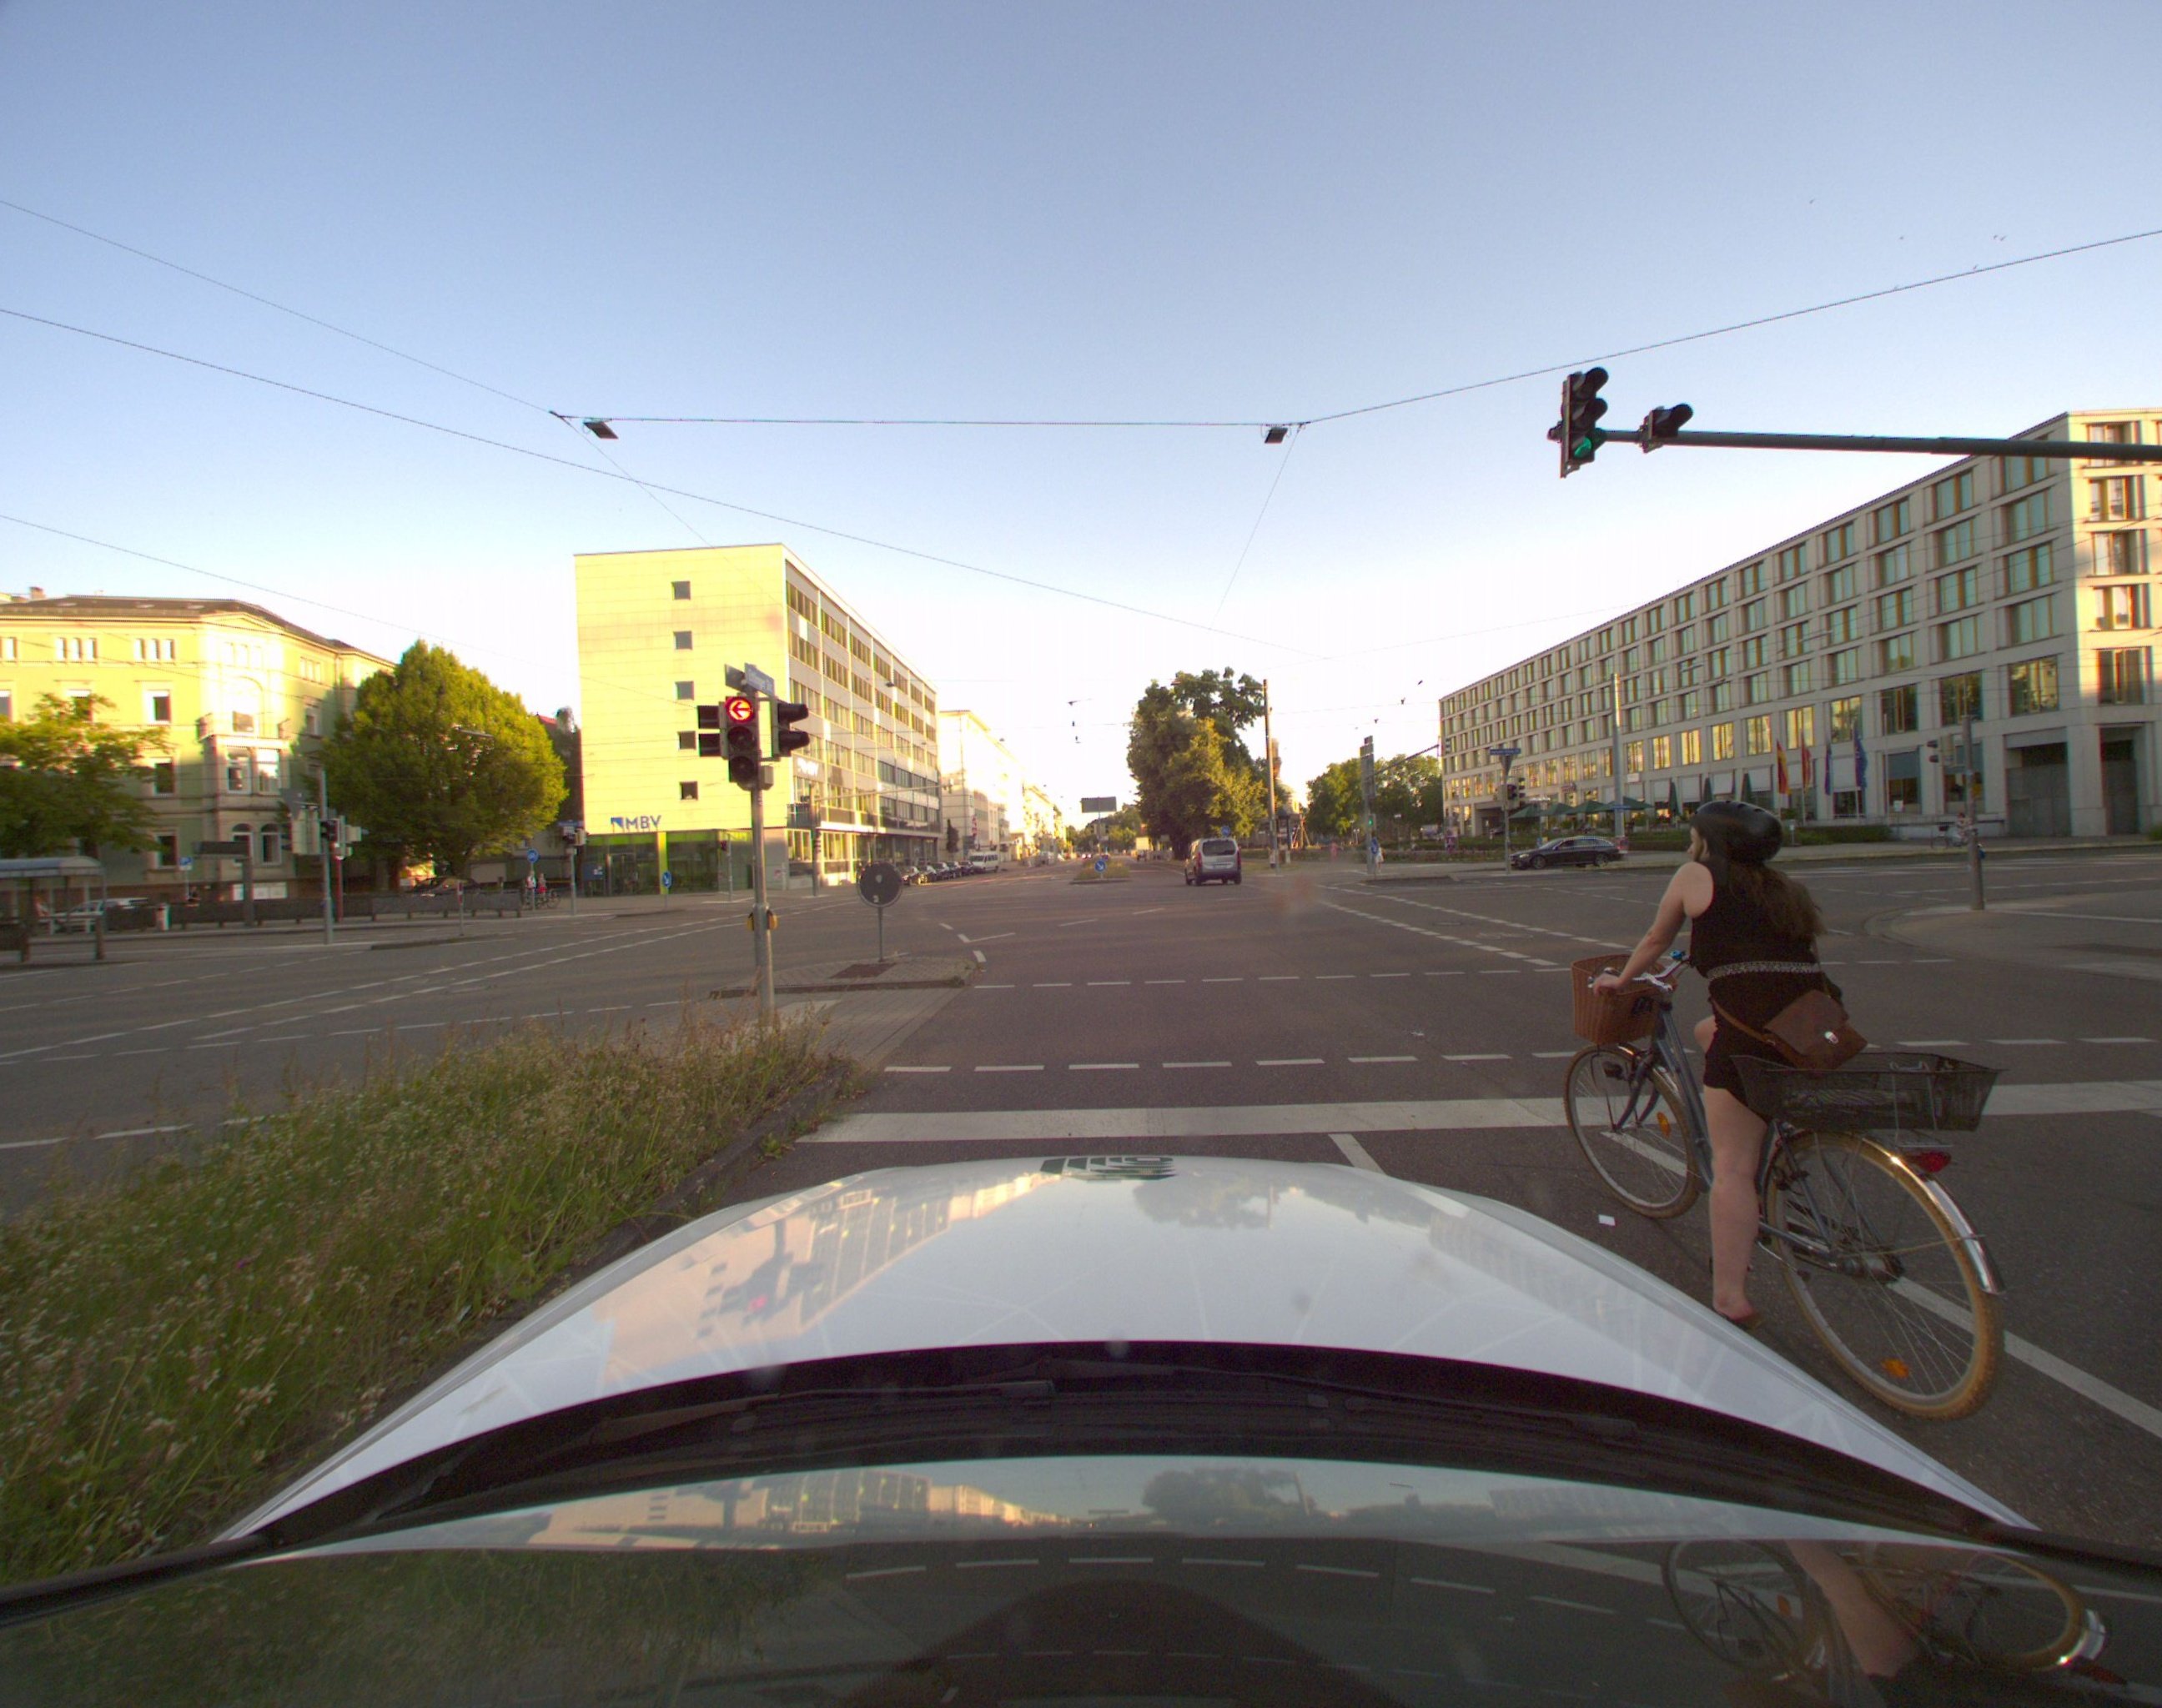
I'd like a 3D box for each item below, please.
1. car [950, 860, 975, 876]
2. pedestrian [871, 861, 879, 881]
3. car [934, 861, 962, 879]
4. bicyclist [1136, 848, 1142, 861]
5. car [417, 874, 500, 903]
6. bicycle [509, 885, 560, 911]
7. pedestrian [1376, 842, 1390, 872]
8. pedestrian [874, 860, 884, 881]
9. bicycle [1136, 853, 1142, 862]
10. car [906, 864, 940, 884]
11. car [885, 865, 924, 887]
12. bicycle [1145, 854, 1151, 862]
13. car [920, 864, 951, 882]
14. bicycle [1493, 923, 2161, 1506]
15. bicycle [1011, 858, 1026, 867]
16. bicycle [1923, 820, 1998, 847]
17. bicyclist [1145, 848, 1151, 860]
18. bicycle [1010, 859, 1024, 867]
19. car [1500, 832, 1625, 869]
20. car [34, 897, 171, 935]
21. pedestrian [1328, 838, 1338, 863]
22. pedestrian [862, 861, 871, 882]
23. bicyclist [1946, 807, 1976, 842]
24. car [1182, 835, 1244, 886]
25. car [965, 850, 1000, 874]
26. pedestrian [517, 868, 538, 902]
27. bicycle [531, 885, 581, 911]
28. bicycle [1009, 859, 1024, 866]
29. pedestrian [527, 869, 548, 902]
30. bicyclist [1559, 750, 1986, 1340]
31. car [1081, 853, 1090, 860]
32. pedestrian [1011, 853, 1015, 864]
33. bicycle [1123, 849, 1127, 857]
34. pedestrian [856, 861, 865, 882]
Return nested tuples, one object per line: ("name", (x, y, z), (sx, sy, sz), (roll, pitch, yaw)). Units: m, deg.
("car", (-12.388, 1.446, 85.252), (1.913, 1.568, 4.002), (-3, 0, 2))
("pedestrian", (-17.399, 1.408, 68.746), (0.498, 1.679, 0.500), (-3, 0, 1))
("car", (-12.856, 1.574, 79.029), (1.913, 1.568, 4.002), (-3, 0, 2))
("bicyclist", (8.145, 0.075, 114.804), (0.744, 1.663, 0.873), (-3, 0, 1))
("car", (-35.169, 1.921, 46.144), (1.830, 1.372, 3.594), (-3, 0, 0))
("bicycle", (-26.787, 2.146, 39.968), (0.832, 1.112, 2.216), (-3, 0, 6))
("pedestrian", (15.961, 0.153, 43.039), (0.489, 1.540, 0.408), (-3, 0, 1))
("pedestrian", (-16.893, 1.398, 68.112), (0.549, 1.679, 0.500), (-3, 0, 1))
("bicycle", (8.169, 0.515, 115.029), (0.744, 1.144, 2.506), (-3, 0, 2))
("car", (-13.316, 1.646, 68.914), (1.913, 1.464, 4.002), (-3, 0, 2))
("car", (-13.511, 1.660, 62.452), (1.913, 1.464, 4.105), (-3, 0, 2))
("bicycle", (9.479, 0.551, 115.087), (0.744, 1.144, 2.506), (-3, 0, 2))
("car", (-13.108, 1.684, 73.727), (1.913, 1.464, 4.002), (-3, 0, 2))
("bicycle", (2.223, 0.897, 2.836), (0.609, 1.132, 2.005), (-1, 0, 2))
("bicycle", (-9.963, 1.319, 129.337), (2.198, 1.236, 0.839), (-3, 0, 0))
("bicycle", (40.050, -0.918, 37.090), (2.762, 1.106, 0.602), (-3, 0, -1))
("bicyclist", (9.450, 0.031, 115.039), (0.744, 1.691, 0.799), (-3, 0, 1))
("bicycle", (-10.005, 1.382, 127.552), (2.198, 1.112, 0.689), (-3, 0, 0))
("car", (23.100, -0.183, 39.222), (4.803, 1.515, 2.002), (-3, 0, 4))
("car", (-45.178, 2.843, 37.691), (3.588, 1.372, 1.833), (-3, 0, -15))
("pedestrian", (17.365, -0.247, 56.111), (0.458, 1.656, 0.567), (-3, 0, 1))
("pedestrian", (-18.111, 1.461, 68.673), (0.549, 1.679, 0.500), (-3, 0, 1))
("bicyclist", (40.078, -1.331, 37.095), (0.705, 1.537, 0.577), (-3, 0, -1))
("car", (5.336, 0.248, 33.525), (1.757, 1.888, 4.499), (-3, 0, 0))
("car", (-11.062, 0.866, 91.687), (1.988, 2.478, 5.888), (-3, 0, 12))
("pedestrian", (-30.207, 1.702, 44.461), (0.641, 1.790, 0.720), (-3, 0, -12))
("bicycle", (-25.646, 2.124, 39.843), (0.832, 1.112, 2.216), (-3, 0, 6))
("bicycle", (-10.039, 1.319, 125.898), (2.198, 1.112, 0.619), (-3, 0, 0))
("pedestrian", (-30.181, 1.747, 45.235), (0.641, 1.790, 0.720), (-3, 0, -12))
("bicyclist", (2.219, 0.533, 2.769), (0.597, 1.636, 0.999), (-1, 0, 2))
("car", (1.028, 0.475, 181.986), (1.855, 1.519, 4.003), (-3, 0, 3))
("pedestrian", (-13.816, 0.913, 165.409), (0.677, 2.013, 0.545), (-3, 0, 1))
("bicycle", (11.441, -0.219, 211.279), (0.892, 2.013, 4.002), (-3, 0, 2))
("pedestrian", (-18.396, 1.458, 67.990), (0.549, 1.679, 0.500), (-3, 0, 1))
